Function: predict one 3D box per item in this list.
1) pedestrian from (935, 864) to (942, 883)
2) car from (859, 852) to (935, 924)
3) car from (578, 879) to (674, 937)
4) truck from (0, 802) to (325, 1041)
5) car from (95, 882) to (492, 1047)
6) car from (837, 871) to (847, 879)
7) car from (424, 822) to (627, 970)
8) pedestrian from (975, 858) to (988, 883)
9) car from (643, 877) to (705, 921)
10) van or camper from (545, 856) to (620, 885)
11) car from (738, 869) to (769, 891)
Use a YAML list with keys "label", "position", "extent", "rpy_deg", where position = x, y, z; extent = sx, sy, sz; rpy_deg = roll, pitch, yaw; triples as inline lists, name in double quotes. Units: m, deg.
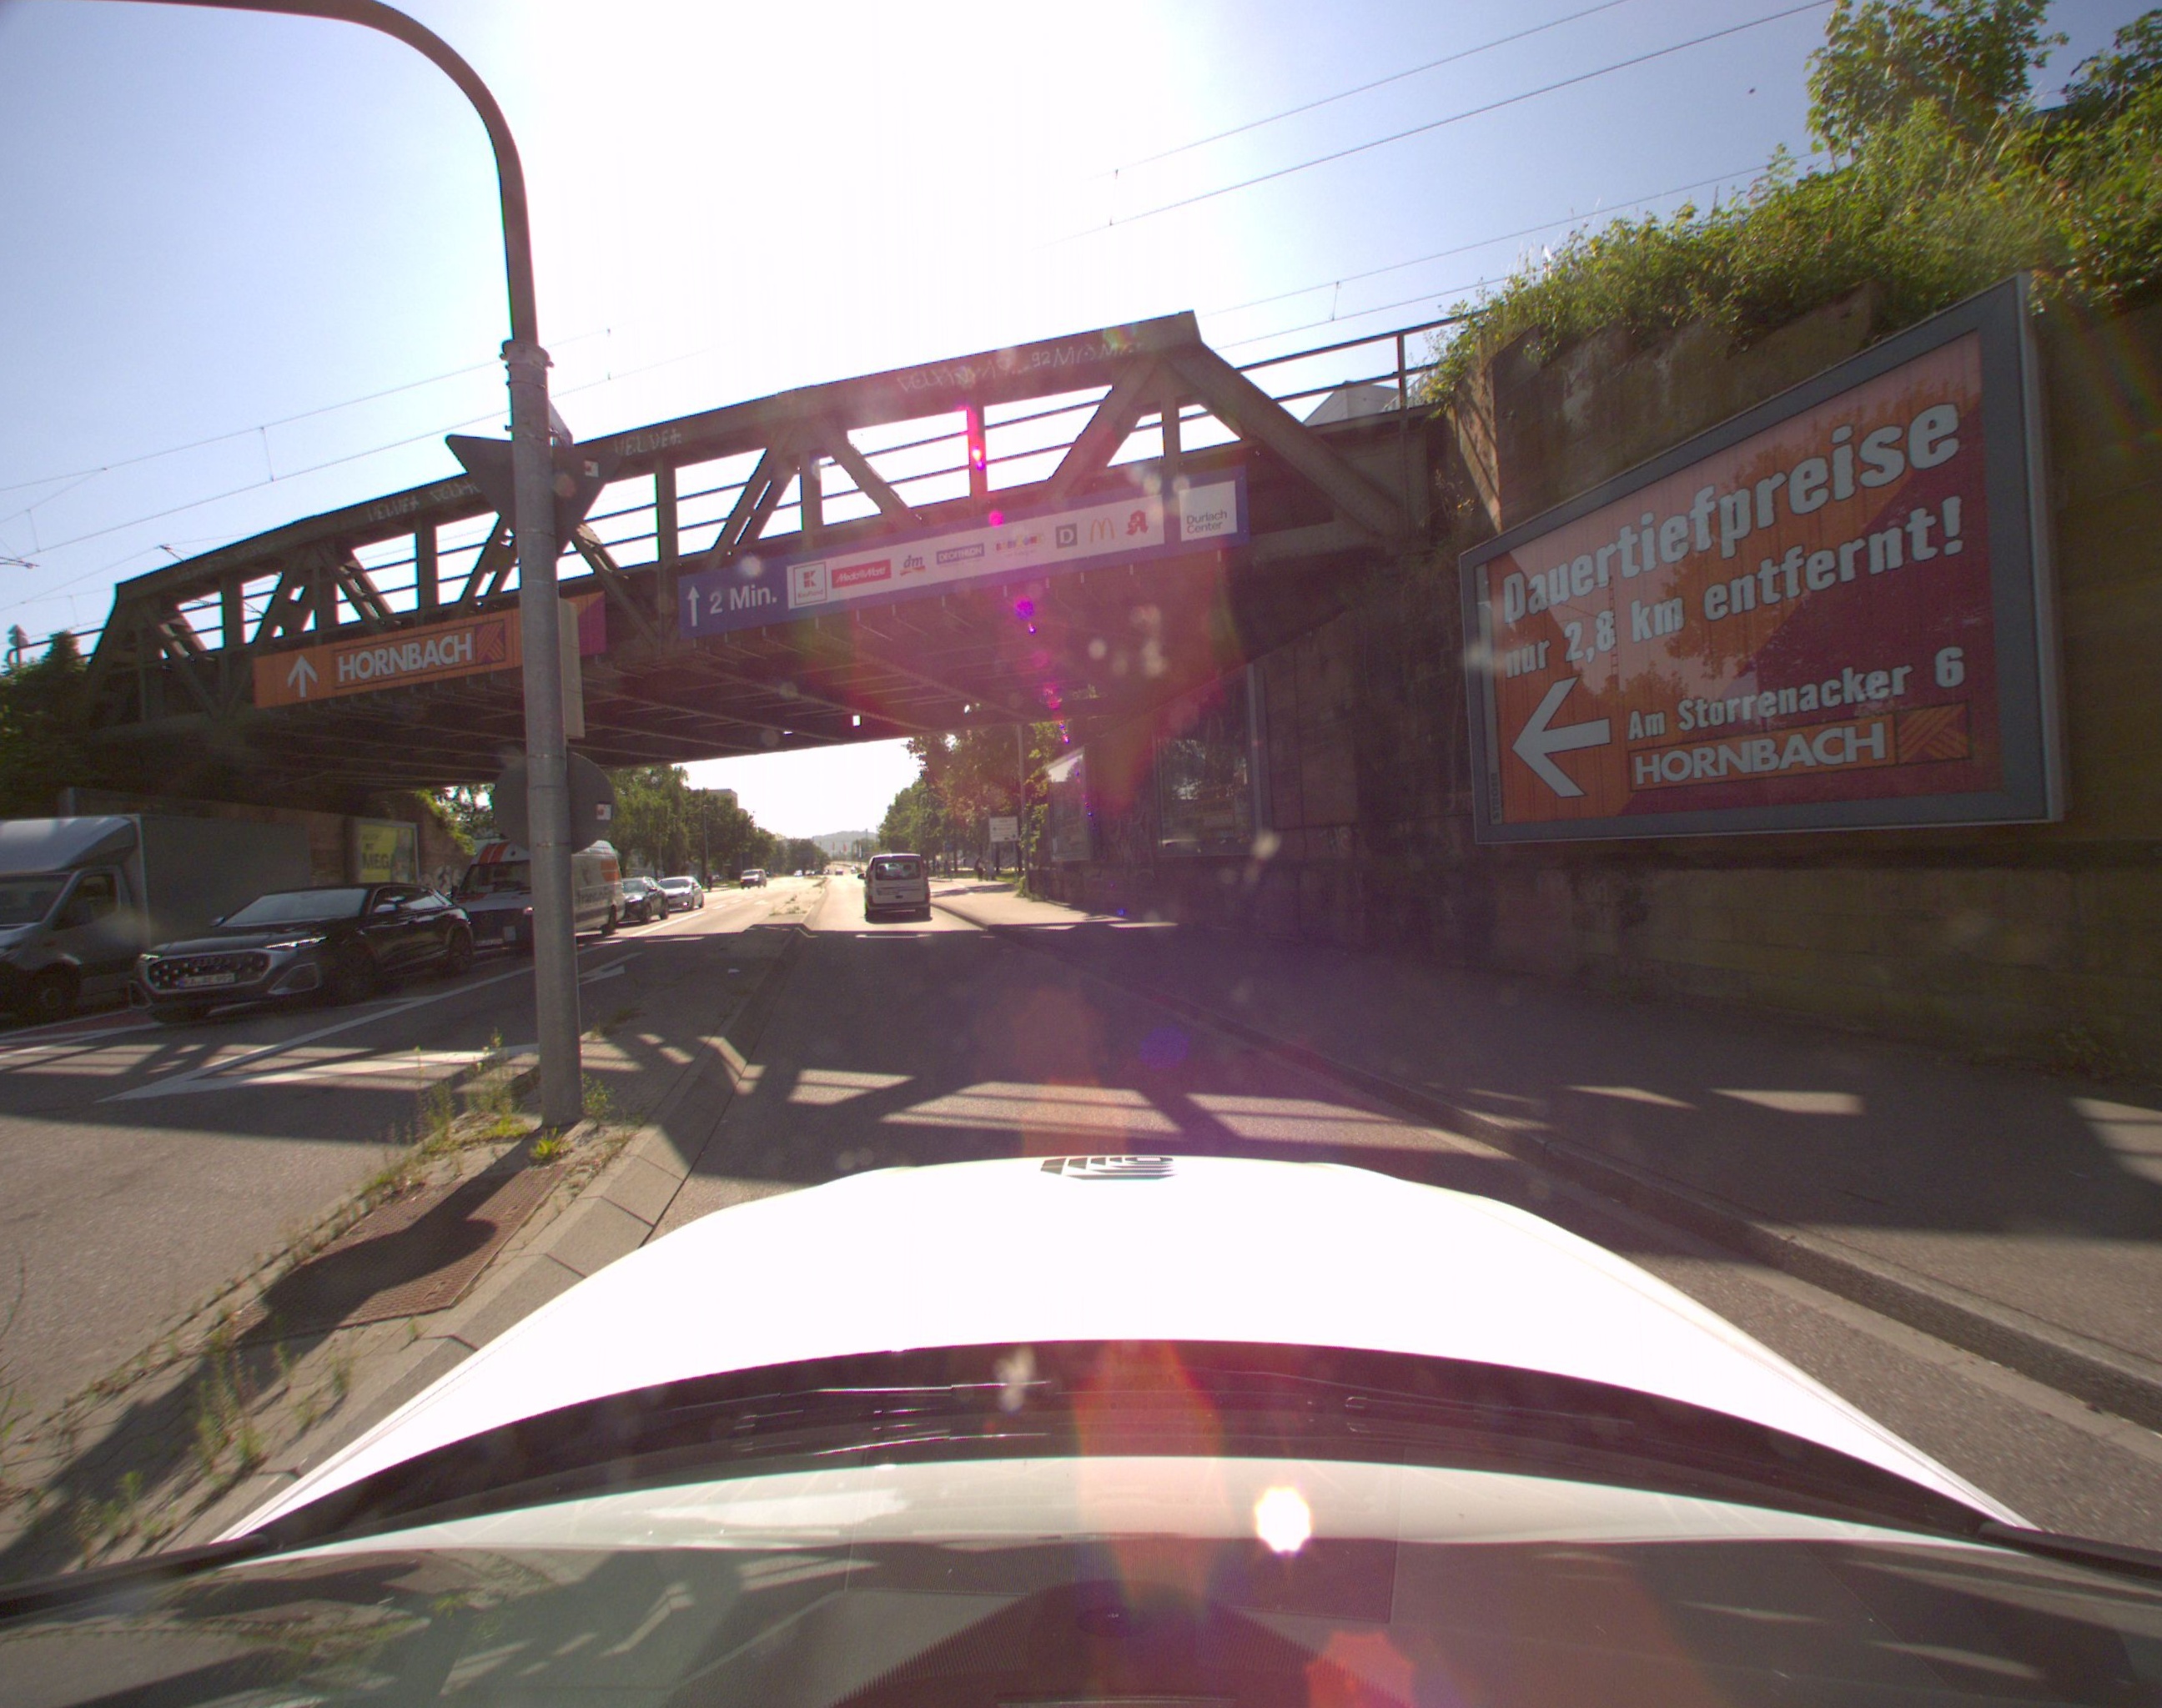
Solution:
- label: "pedestrian"
  position: [-14.753, 2.006, 84.146]
  extent: [0.536, 1.841, 0.724]
  rpy_deg: [-3, -1, -16]
- label: "car"
  position: [-5.507, 0.942, 24.026]
  extent: [1.909, 1.829, 4.158]
  rpy_deg: [-3, 0, -15]
- label: "car"
  position: [-15.023, 1.726, 27.128]
  extent: [1.772, 1.494, 4.155]
  rpy_deg: [-5, 1, -16]
- label: "truck"
  position: [-16.033, 0.993, 13.533]
  extent: [2.349, 3.088, 7.023]
  rpy_deg: [-3, 0, -19]
- label: "car"
  position: [-10.960, 1.363, 12.007]
  extent: [1.997, 1.681, 4.924]
  rpy_deg: [-3, 0, -15]
- label: "car"
  position: [-57.483, 5.030, 195.917]
  extent: [1.998, 1.684, 3.978]
  rpy_deg: [-3, 0, -16]
- label: "car"
  position: [-13.122, 0.891, 19.905]
  extent: [1.999, 2.804, 6.895]
  rpy_deg: [-5, 1, -18]
- label: "pedestrian"
  position: [-6.672, 1.088, 54.489]
  extent: [0.648, 1.603, 0.842]
  rpy_deg: [-3, 0, -15]
- label: "car"
  position: [-17.362, 1.873, 34.917]
  extent: [1.647, 1.494, 3.807]
  rpy_deg: [-5, 1, -17]
- label: "van or camper"
  position: [-44.925, 1.428, 73.490]
  extent: [5.394, 2.470, 1.987]
  rpy_deg: [-1, 0, -19]
- label: "car"
  position: [-34.550, 2.690, 86.012]
  extent: [1.995, 2.013, 5.325]
  rpy_deg: [-4, 0, -12]
